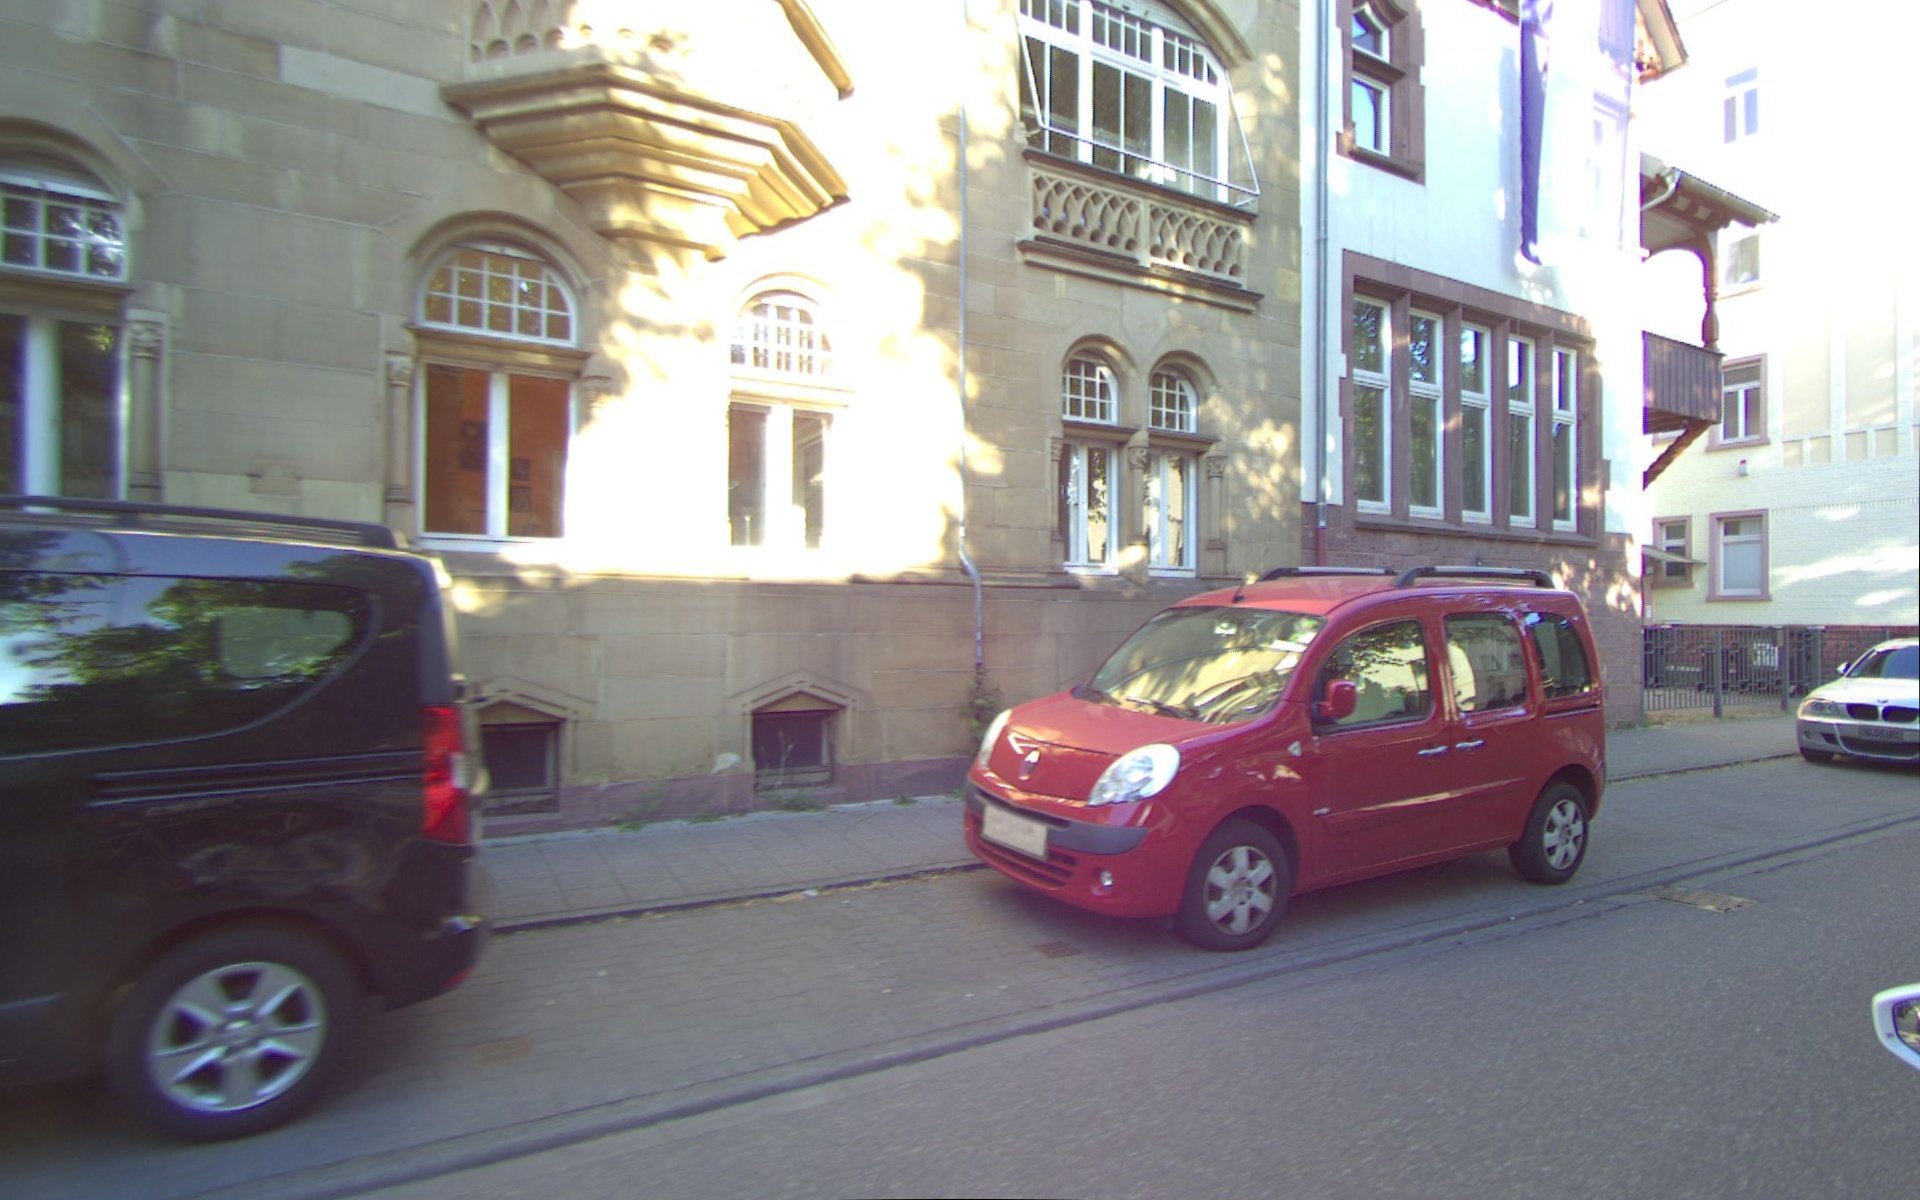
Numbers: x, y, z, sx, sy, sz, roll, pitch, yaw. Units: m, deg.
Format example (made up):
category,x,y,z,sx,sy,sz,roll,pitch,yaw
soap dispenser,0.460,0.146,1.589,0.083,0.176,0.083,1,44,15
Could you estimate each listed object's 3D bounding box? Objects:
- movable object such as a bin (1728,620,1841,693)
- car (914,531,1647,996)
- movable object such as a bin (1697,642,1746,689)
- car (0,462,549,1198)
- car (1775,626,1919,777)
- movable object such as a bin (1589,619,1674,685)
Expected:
category,x,y,z,sx,sy,sz,roll,pitch,yaw
movable object such as a bin,15.511,1.042,18.932,0.954,1.316,1.374,1,-1,-20
car,2.032,0.706,6.032,4.273,1.932,1.790,1,0,-30
movable object such as a bin,14.753,1.262,19.457,0.662,0.890,0.480,1,-1,-20
car,-3.692,0.577,2.854,4.488,1.876,1.761,1,0,-30
car,11.155,1.059,11.430,4.058,1.486,1.734,1,-1,-32
movable object such as a bin,14.279,1.083,21.372,0.680,1.335,1.370,1,-1,-36
